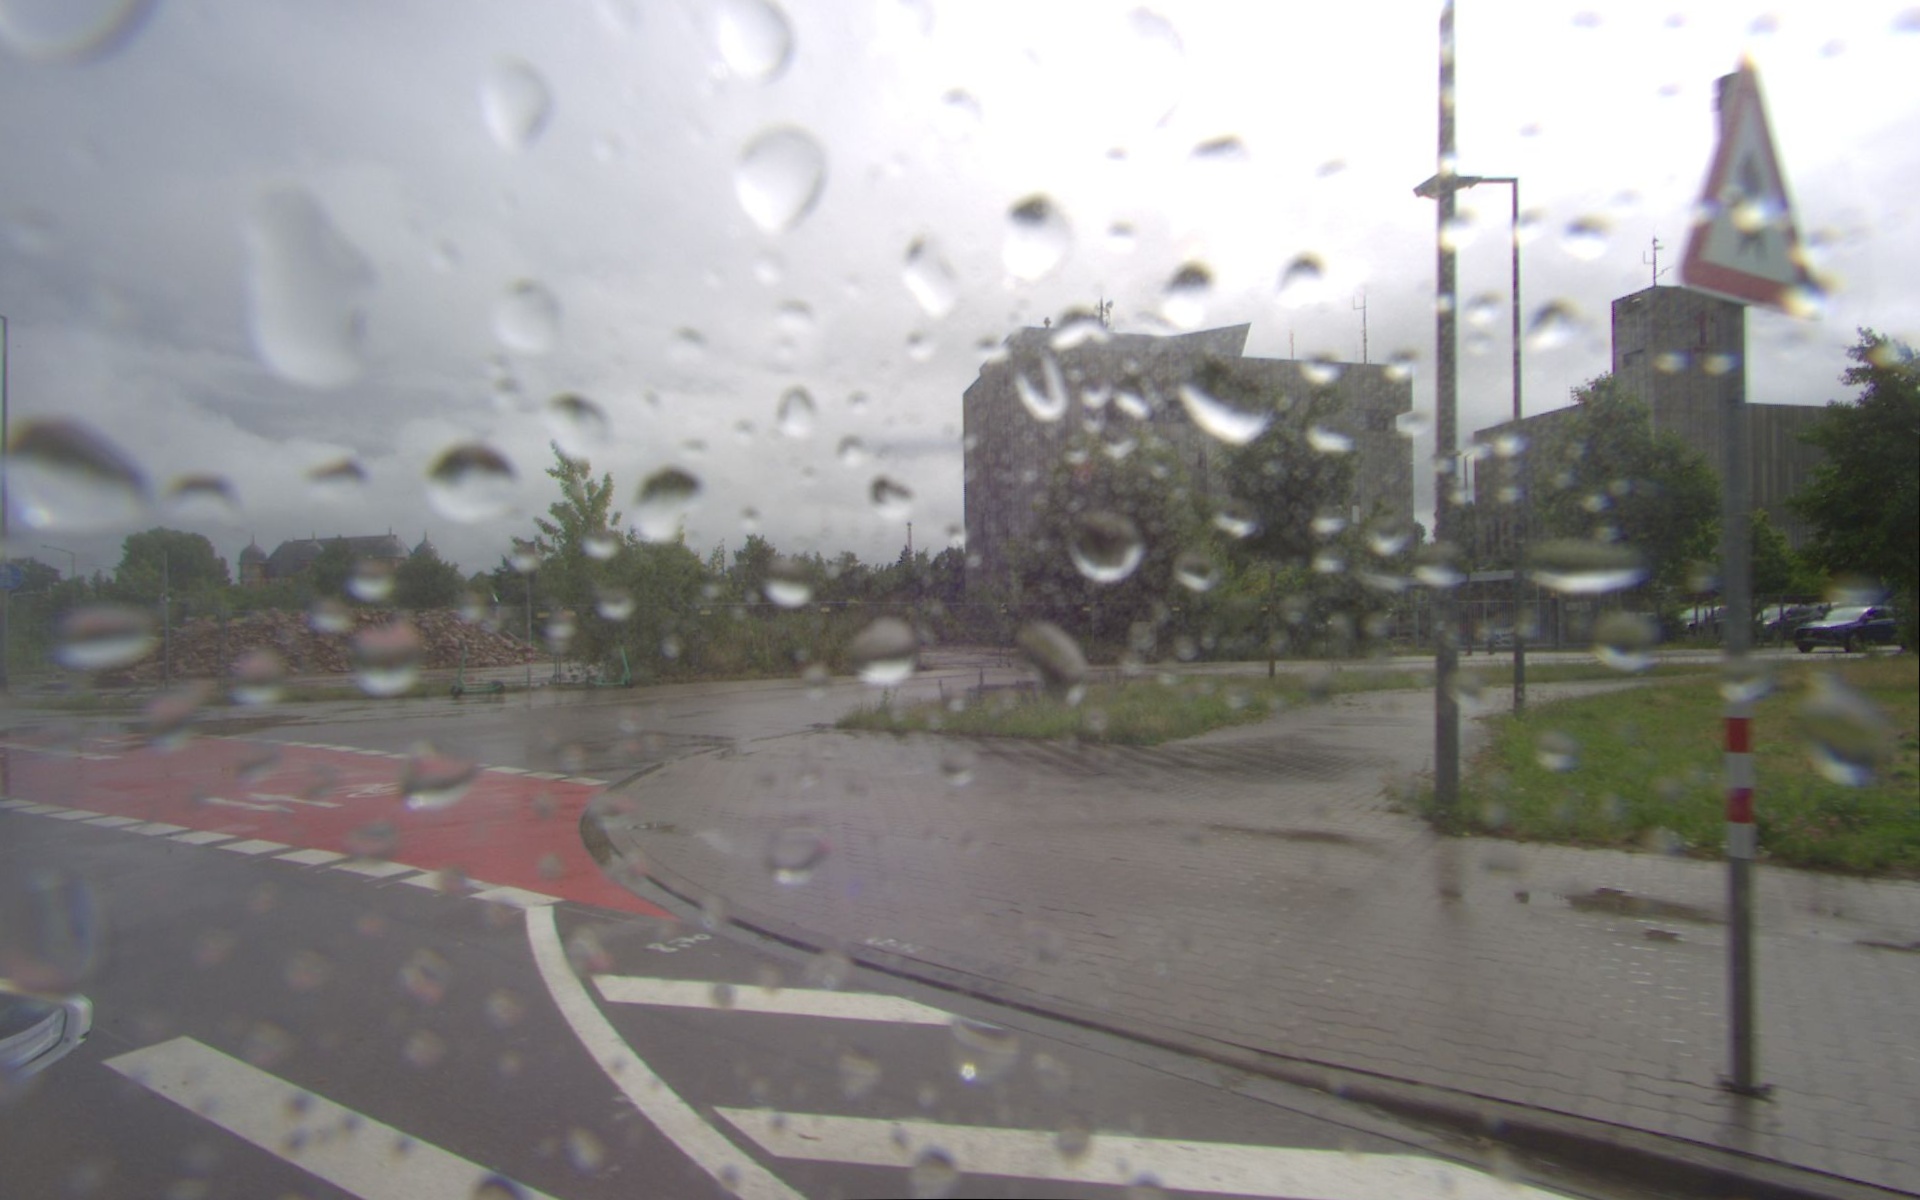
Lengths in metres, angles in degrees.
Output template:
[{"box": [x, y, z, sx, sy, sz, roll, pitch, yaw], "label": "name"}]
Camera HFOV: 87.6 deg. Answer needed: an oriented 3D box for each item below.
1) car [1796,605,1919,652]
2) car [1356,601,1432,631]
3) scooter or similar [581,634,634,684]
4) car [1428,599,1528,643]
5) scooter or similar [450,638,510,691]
[{"box": [32.347, 1.018, 36.084, 3.534, 1.632, 1.598, 0, -1, -14], "label": "car"}, {"box": [23.511, 0.871, 54.305, 3.583, 1.632, 1.548, 0, -1, -13], "label": "car"}, {"box": [-8.586, 1.426, 24.400, 1.175, 1.165, 0.745, 0, 0, -23], "label": "scooter or similar"}, {"box": [24.977, 1.019, 48.316, 3.927, 2.040, 1.998, 0, -1, -13], "label": "car"}, {"box": [-10.913, 1.454, 22.797, 1.175, 1.165, 0.481, -1, 0, -22], "label": "scooter or similar"}]
